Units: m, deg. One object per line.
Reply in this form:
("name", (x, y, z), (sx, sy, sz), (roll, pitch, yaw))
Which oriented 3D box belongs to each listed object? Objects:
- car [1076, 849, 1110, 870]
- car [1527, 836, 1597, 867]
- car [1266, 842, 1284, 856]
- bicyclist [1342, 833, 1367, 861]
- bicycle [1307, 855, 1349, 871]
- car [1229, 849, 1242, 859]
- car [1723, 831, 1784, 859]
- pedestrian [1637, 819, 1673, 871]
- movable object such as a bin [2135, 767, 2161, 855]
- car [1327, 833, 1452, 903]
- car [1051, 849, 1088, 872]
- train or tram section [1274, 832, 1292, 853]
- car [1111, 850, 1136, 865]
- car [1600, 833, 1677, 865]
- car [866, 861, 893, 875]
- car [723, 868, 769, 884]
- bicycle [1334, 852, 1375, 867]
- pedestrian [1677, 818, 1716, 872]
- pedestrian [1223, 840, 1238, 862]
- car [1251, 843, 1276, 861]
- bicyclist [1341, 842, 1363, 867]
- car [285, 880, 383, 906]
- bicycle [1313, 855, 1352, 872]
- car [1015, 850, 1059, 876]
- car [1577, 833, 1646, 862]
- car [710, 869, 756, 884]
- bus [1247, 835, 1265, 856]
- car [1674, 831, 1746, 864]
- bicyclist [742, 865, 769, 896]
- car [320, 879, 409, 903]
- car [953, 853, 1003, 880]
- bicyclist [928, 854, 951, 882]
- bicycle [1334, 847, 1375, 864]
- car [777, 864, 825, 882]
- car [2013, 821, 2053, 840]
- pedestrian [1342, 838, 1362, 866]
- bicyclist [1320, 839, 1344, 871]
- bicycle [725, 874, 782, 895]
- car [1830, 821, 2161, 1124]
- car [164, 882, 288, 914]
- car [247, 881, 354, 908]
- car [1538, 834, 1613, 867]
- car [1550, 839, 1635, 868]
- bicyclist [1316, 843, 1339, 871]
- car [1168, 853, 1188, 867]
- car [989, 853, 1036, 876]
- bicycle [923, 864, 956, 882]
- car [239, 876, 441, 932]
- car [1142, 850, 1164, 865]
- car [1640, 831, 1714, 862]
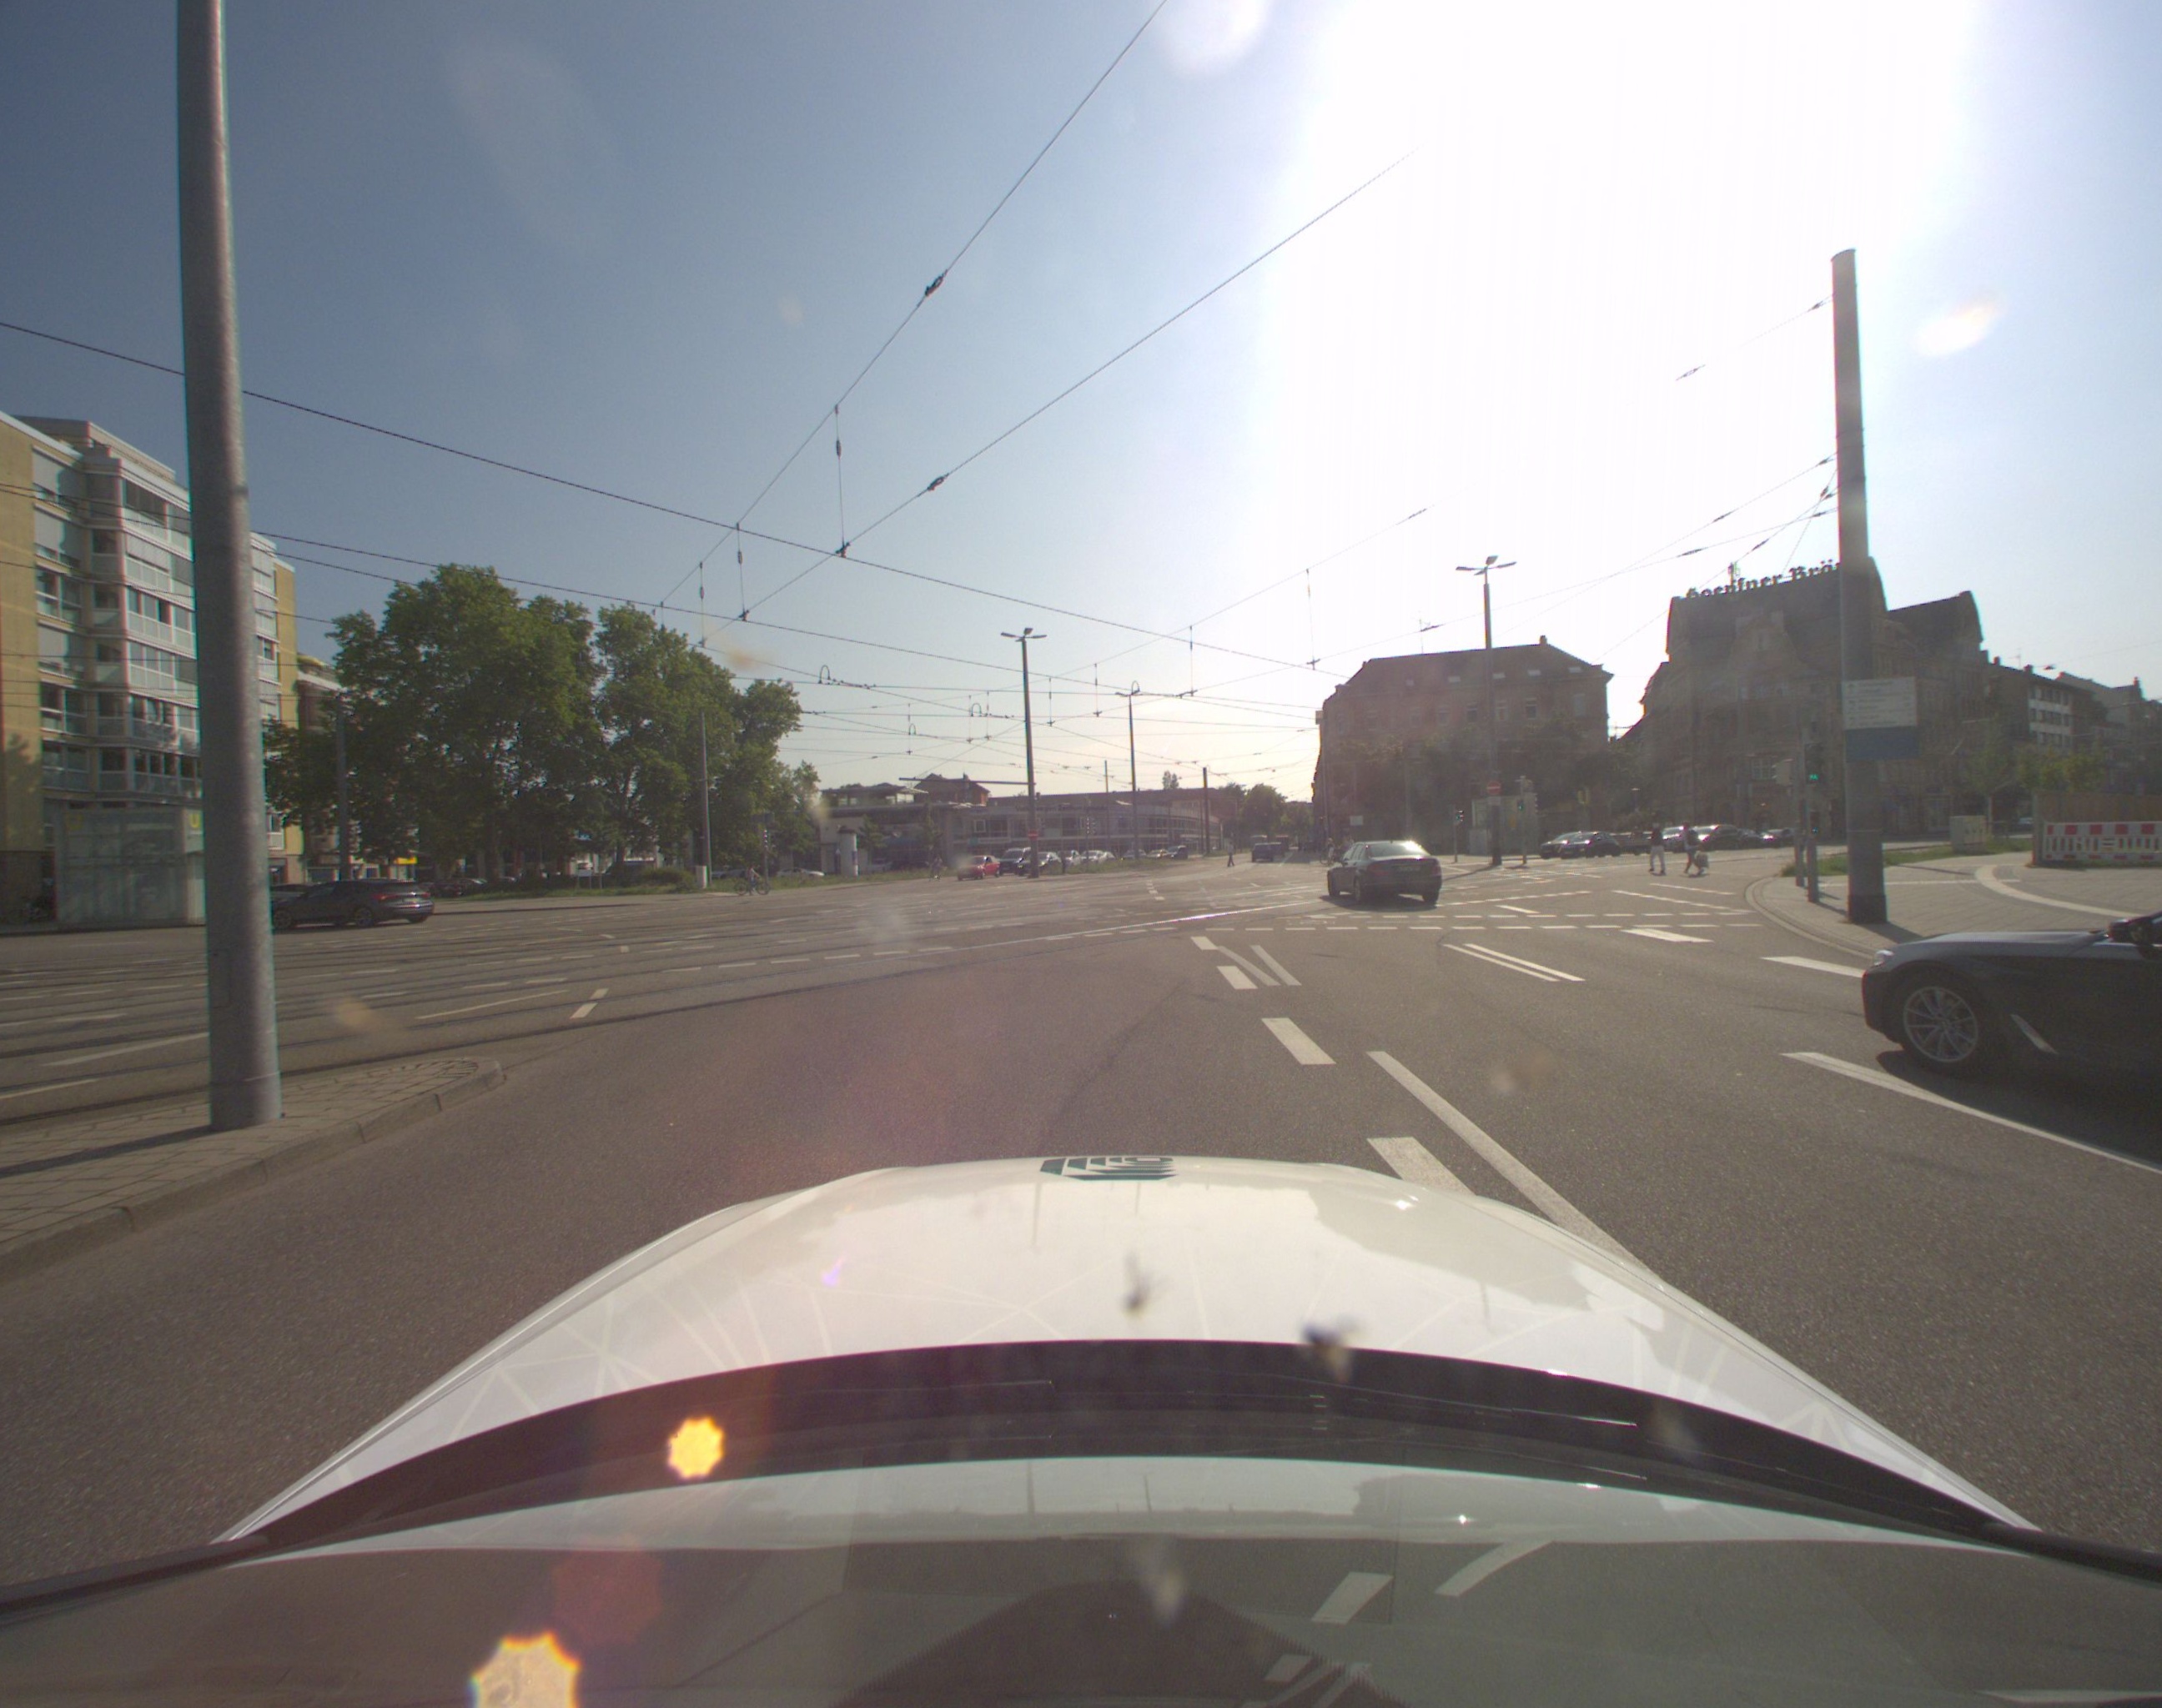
("car", (1.001, 0.433, 65.703), (1.602, 1.475, 4.017), (-4, -1, 16))
("car", (31.275, -0.141, 52.963), (4.284, 1.859, 1.938), (-2, 0, -28))
("car", (21.258, -0.590, 89.223), (1.812, 1.428, 4.430), (-3, 0, 14))
("bicyclist", (17.053, -0.420, 50.812), (0.941, 1.708, 1.080), (-2, 0, -37))
("bicycle", (16.612, 0.617, 54.793), (2.630, 0.964, 1.084), (-2, 0, -24))
("car", (24.615, -0.076, 129.797), (1.602, 1.475, 4.017), (-4, -1, 16))
("car", (48.975, -0.665, 59.312), (4.261, 1.859, 1.893), (-2, 0, -28))
("pedestrian", (19.284, -0.297, 27.368), (0.910, 1.690, 0.843), (-2, 0, 37))
("movable object such as a bin", (34.066, -1.369, 24.360), (8.009, 2.442, 2.427), (-2, 0, -33))
("car", (7.242, 0.284, 19.574), (1.674, 1.442, 4.379), (-2, 0, 6))
("car", (-0.798, 0.466, 59.857), (1.602, 1.475, 4.016), (-4, -1, 15))
("train or tram section", (38.672, -2.236, 156.319), (2.637, 3.699, 10.623), (-3, 0, 11))
("car", (4.392, 0.344, 83.885), (1.602, 1.475, 4.017), (-4, -1, 16))
("car", (35.047, -0.294, 51.140), (4.719, 1.859, 1.894), (-2, 0, -26))
("car", (-22.235, 1.530, 90.109), (1.692, 1.522, 4.104), (-2, 0, 4))
("car", (-37.300, 2.452, 90.717), (1.683, 1.522, 4.543), (-2, 0, 31))
("bicycle", (18.914, 0.379, 56.387), (2.630, 0.964, 1.084), (-2, 0, -24))
("pedestrian", (19.934, -0.292, 26.381), (0.910, 1.690, 0.931), (-2, 0, 40))
("pedestrian", (10.489, -0.229, 57.149), (0.781, 1.503, 0.704), (-2, 0, -24))
("car", (15.818, -0.178, 70.314), (1.812, 1.428, 4.431), (-2, 0, 15))
("bicyclist", (18.726, 0.018, 56.301), (0.938, 1.680, 1.084), (-2, 0, -24))
("car", (-46.696, 2.423, 50.984), (4.169, 1.354, 1.568), (-2, 0, -19))
("bicycle", (16.217, 0.631, 52.514), (2.639, 0.964, 1.081), (-2, 0, -38))
("car", (-2.819, 0.564, 53.359), (1.602, 1.475, 4.016), (-4, -1, 15))
("car", (37.669, -0.457, 57.830), (4.276, 1.859, 1.917), (-2, 0, -22))
("car", (-39.215, 2.492, 91.859), (1.683, 1.522, 4.543), (-2, 0, 31))
("bus", (32.463, -1.557, 150.501), (2.900, 3.619, 16.806), (-2, 0, 13))
("car", (37.833, -0.406, 48.976), (4.078, 1.859, 1.893), (-2, 0, -28))
("bicyclist", (-16.849, 1.363, 42.206), (1.164, 1.527, 0.956), (0, -1, -14))
("car", (-47.947, 2.463, 54.578), (4.169, 1.354, 1.568), (-2, 0, -19))
("car", (-6.424, 0.758, 51.254), (1.602, 1.475, 4.016), (-4, -1, 15))
("bicyclist", (-8.976, 0.865, 51.616), (0.950, 1.748, 1.171), (-2, 0, 16))
("bicycle", (17.058, 0.109, 50.795), (2.639, 0.964, 1.081), (-2, 0, -38))
("car", (-27.497, 1.848, 80.076), (4.067, 1.522, 1.707), (-2, 0, 4))
("car", (102.316, -2.506, 87.497), (4.124, 1.859, 1.915), (-2, 0, -28))
("pedestrian", (17.866, -0.101, 53.757), (0.933, 1.797, 0.849), (-2, 0, -41))
("bicyclist", (16.159, 0.088, 52.491), (0.941, 2.024, 1.080), (-2, 0, -37))
("bicycle", (-16.933, 1.580, 42.178), (2.603, 1.057, 0.956), (1, -1, -14))
("car", (6.123, 0.568, 3.487), (1.676, 1.491, 4.676), (-1, 0, 3))
("car", (-44.055, 2.248, 42.071), (4.169, 1.354, 1.472), (-2, 0, -19))
("car", (-45.387, 2.329, 47.456), (4.169, 1.354, 1.568), (-2, 0, -19))
("car", (29.427, -0.215, 48.450), (4.261, 1.859, 1.893), (-2, 0, -28))
("car", (27.831, -0.037, 44.310), (4.399, 1.397, 2.005), (-2, 0, -28))
("bicyclist", (16.583, 0.196, 54.785), (0.938, 1.800, 1.084), (-2, 0, -24))
("car", (11.575, 0.739, 96.914), (1.602, 1.475, 4.017), (-4, -1, 16))
("car", (-4.868, 0.715, 58.387), (1.946, 1.475, 4.016), (-4, -1, 15))
("bicycle", (-8.960, 1.200, 51.636), (0.950, 1.057, 2.619), (-2, 0, 16))
("car", (-22.251, 1.473, 24.564), (4.514, 1.435, 1.840), (-2, 0, 4))
("car", (8.076, 0.373, 91.073), (1.602, 1.475, 4.017), (-4, -1, 16))
("car", (38.449, -0.490, 52.516), (4.676, 1.859, 2.027), (-2, 0, -28))
